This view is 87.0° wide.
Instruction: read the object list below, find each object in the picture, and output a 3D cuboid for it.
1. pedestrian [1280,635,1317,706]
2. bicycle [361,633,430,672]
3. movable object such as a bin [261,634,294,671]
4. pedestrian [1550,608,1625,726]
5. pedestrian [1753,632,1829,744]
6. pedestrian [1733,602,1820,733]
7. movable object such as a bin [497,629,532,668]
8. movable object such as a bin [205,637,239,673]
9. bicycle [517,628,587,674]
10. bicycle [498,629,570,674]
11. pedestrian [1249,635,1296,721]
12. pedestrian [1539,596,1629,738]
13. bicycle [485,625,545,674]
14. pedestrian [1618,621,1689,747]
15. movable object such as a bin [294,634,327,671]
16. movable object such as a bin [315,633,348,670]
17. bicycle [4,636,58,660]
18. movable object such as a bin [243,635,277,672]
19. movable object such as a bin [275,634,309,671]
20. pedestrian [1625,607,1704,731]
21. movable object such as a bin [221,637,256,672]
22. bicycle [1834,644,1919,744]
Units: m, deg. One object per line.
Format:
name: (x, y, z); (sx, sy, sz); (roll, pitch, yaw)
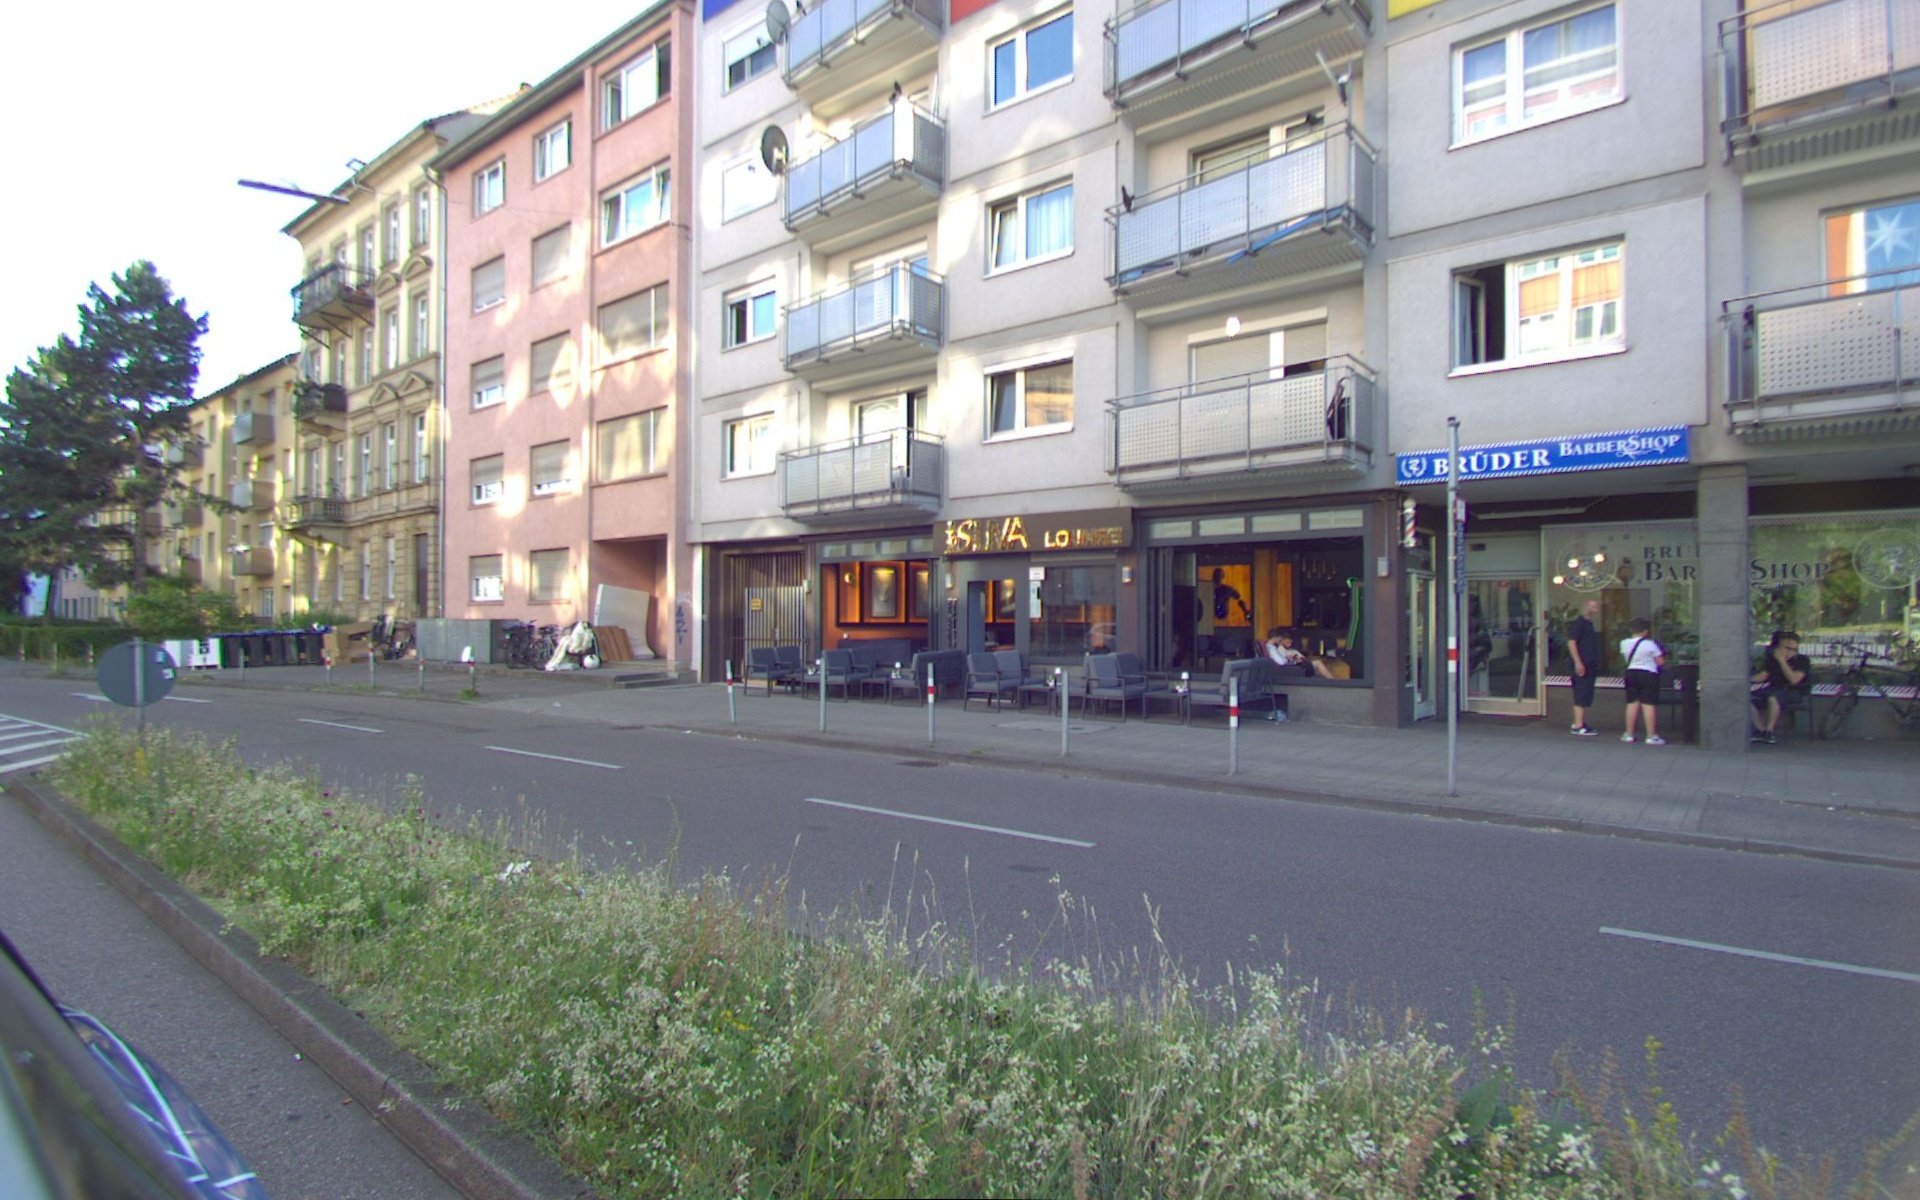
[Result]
pedestrian: (5.295, 1.089, 15.844); (0.518, 1.088, 0.549); (-1, -2, 18)
bicycle: (-17.156, 1.581, 30.783); (0.661, 0.974, 1.633); (-1, 4, 38)
movable object such as a bin: (-21.339, 1.640, 31.648); (0.577, 1.119, 0.640); (0, 1, 10)
pedestrian: (8.711, 0.910, 14.047); (0.787, 1.590, 0.555); (-2, -2, 41)
pedestrian: (9.639, 0.996, 11.746); (0.549, 1.249, 0.532); (1, -2, -35)
pedestrian: (10.334, 0.838, 12.835); (0.786, 1.590, 0.556); (-1, -2, 35)
movable object such as a bin: (-12.113, 1.301, 27.535); (0.588, 1.039, 0.668); (-1, -2, 40)
movable object such as a bin: (-23.331, 1.740, 31.986); (0.577, 1.091, 0.640); (0, 1, 10)
bicycle: (-10.025, 1.229, 24.917); (0.546, 1.048, 1.661); (-1, 0, 25)
bicycle: (-10.680, 1.275, 25.423); (0.548, 1.048, 1.656); (-1, 0, 33)
pedestrian: (4.515, 1.109, 14.640); (0.546, 1.212, 0.521); (0, -2, 8)
pedestrian: (7.733, 0.814, 12.573); (0.552, 1.714, 0.781); (0, -2, -6)
bicycle: (-11.356, 1.244, 25.870); (0.491, 1.169, 1.667); (-1, 0, 14)
pedestrian: (7.925, 0.939, 11.573); (0.476, 1.394, 0.483); (1, -2, -30)
movable object such as a bin: (-20.123, 1.614, 31.377); (0.577, 1.119, 0.640); (0, 1, 10)
movable object such as a bin: (-19.465, 1.593, 31.367); (0.577, 1.119, 0.640); (0, 1, 10)
bicycle: (-41.527, 2.131, 45.258); (0.589, 0.989, 1.740); (-2, -1, 41)
movable object such as a bin: (-21.972, 1.659, 31.765); (0.577, 1.119, 0.640); (0, 1, 10)
movable object such as a bin: (-20.724, 1.621, 31.397); (0.577, 1.119, 0.640); (0, 1, 10)
pedestrian: (9.398, 0.902, 13.506); (0.787, 1.590, 0.555); (-2, -2, 41)
movable object such as a bin: (-22.690, 1.710, 31.816); (0.620, 1.076, 0.640); (0, 1, 10)
bicycle: (10.926, 1.072, 11.499); (1.454, 1.089, 0.582); (0, -1, 38)
